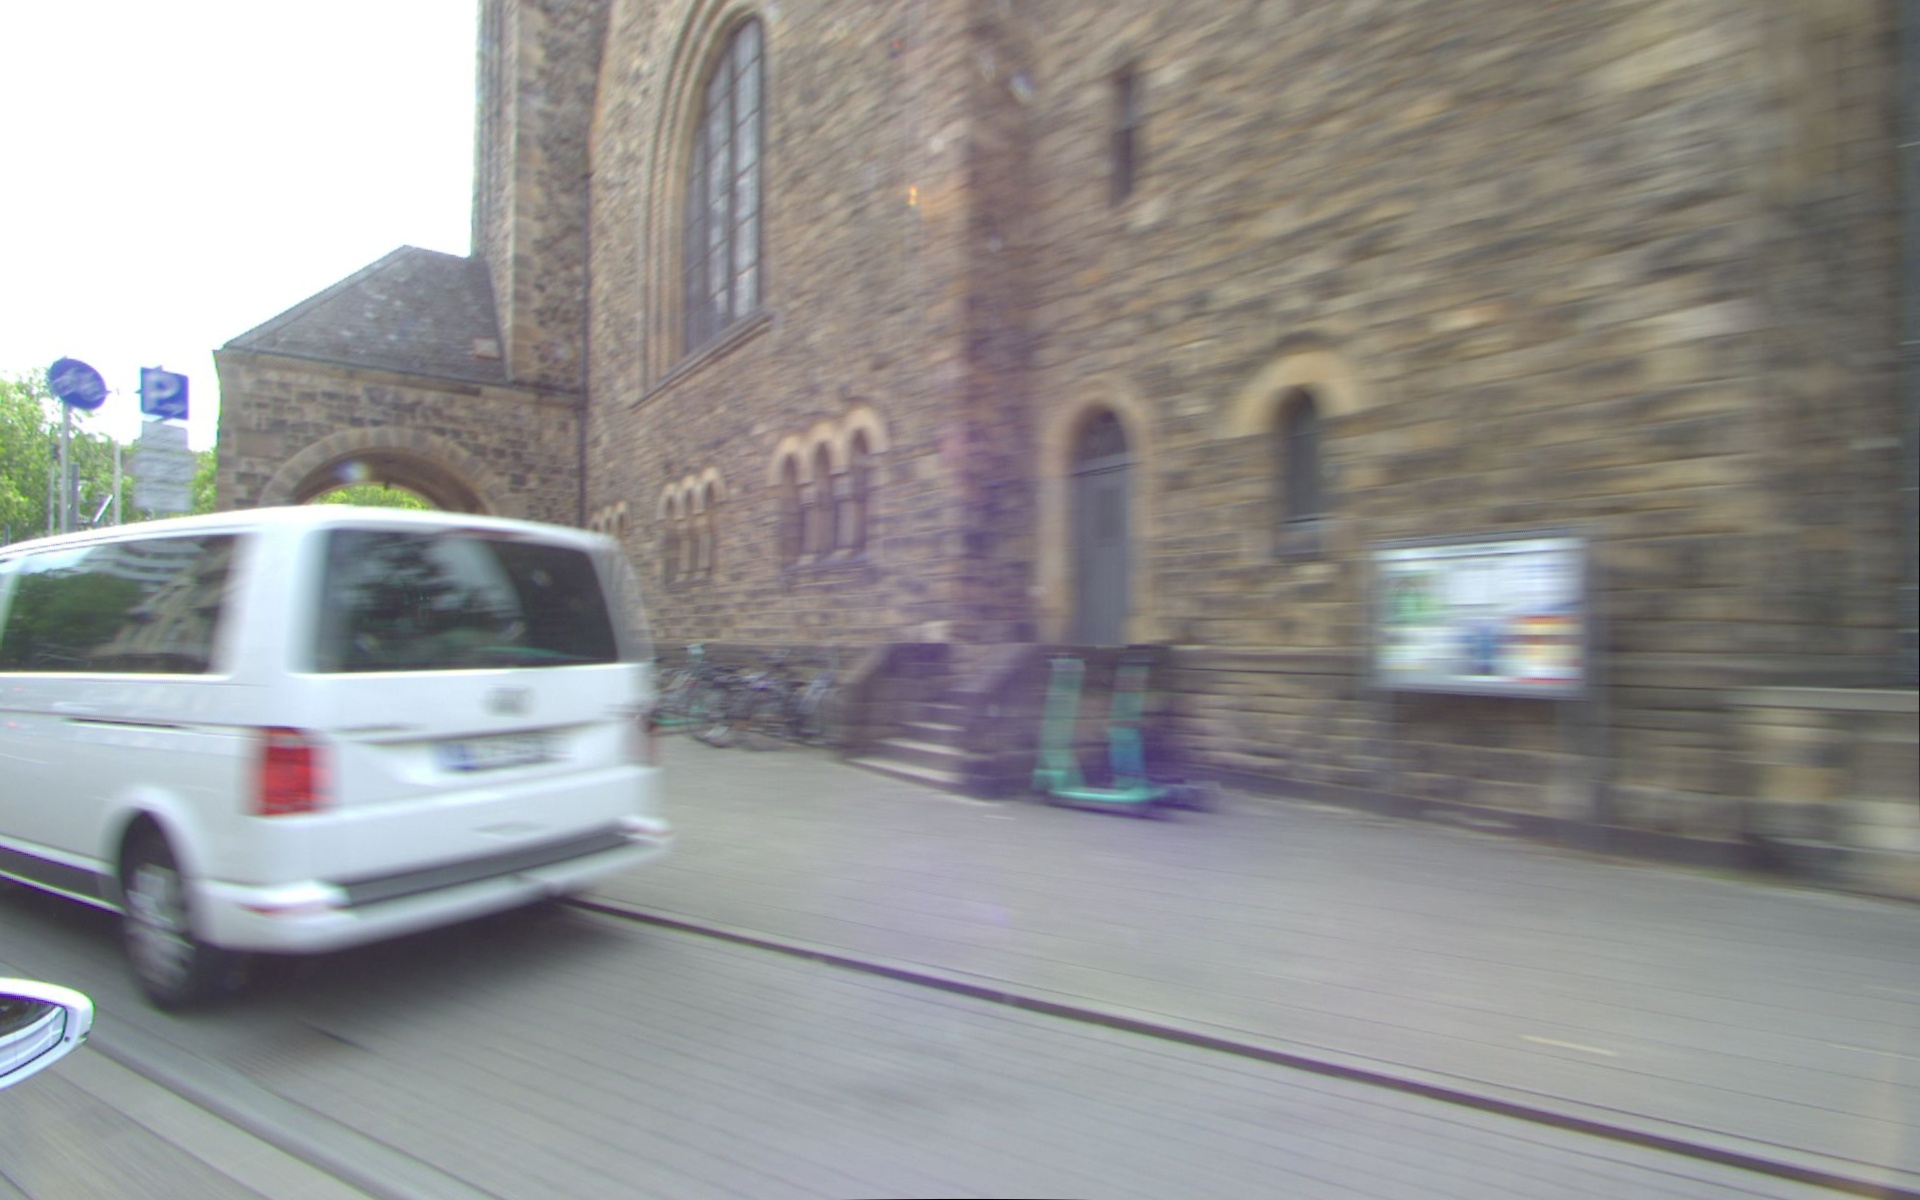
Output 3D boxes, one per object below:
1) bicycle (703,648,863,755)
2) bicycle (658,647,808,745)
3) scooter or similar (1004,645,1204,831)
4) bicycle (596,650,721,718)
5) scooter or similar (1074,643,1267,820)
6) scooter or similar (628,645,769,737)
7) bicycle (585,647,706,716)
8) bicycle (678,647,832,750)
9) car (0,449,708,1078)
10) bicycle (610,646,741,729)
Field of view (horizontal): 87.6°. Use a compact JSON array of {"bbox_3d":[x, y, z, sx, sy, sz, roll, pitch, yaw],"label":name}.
[{"bbox_3d":[-1.997,1.121,11.450,1.763,1.126,0.541,2,-2,-40],"label":"bicycle"},{"bbox_3d":[-2.786,1.148,12.428,1.763,1.126,0.541,2,-2,-40],"label":"bicycle"},{"bbox_3d":[1.039,0.960,7.431,1.428,1.222,0.541,-1,-2,45],"label":"scooter or similar"},{"bbox_3d":[-4.594,1.266,15.341,1.763,0.969,0.541,2,-2,-40],"label":"bicycle"},{"bbox_3d":[1.601,0.959,7.805,0.540,1.222,1.469,1,-2,-39],"label":"scooter or similar"},{"bbox_3d":[-3.474,1.178,13.401,1.763,1.154,0.541,2,-2,-40],"label":"scooter or similar"},{"bbox_3d":[-4.973,1.272,15.897,1.762,0.970,0.541,0,0,-40],"label":"bicycle"},{"bbox_3d":[-2.415,1.135,11.940,1.756,1.126,0.541,2,-2,-40],"label":"bicycle"},{"bbox_3d":[-3.946,0.546,5.423,5.046,2.056,2.012,0,-1,30],"label":"car"},{"bbox_3d":[-4.100,1.240,14.527,1.763,1.126,0.541,2,-2,-40],"label":"bicycle"}]
